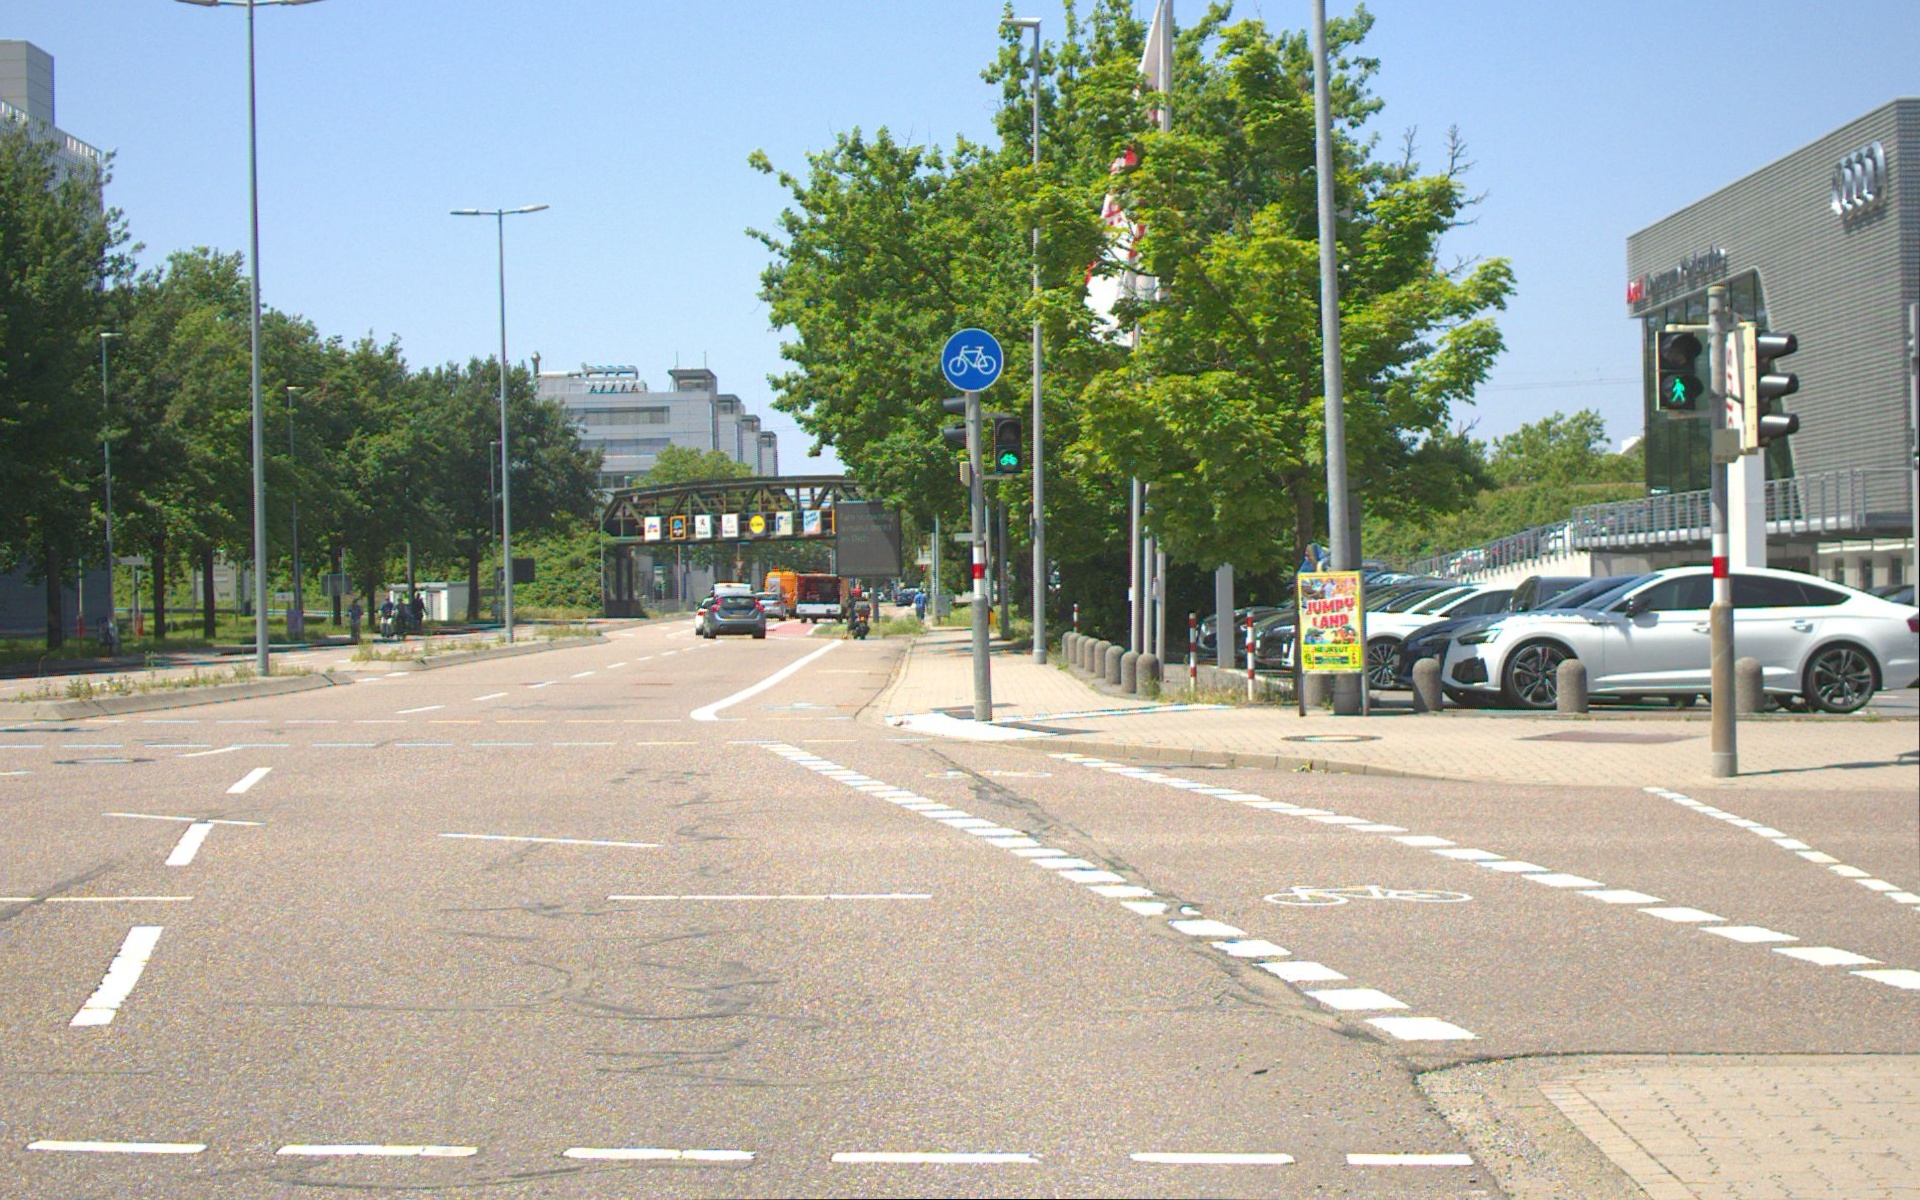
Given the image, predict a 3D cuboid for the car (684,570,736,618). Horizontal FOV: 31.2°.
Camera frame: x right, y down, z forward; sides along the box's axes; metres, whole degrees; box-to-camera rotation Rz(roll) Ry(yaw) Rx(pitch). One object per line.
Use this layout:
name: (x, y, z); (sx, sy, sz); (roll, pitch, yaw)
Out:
car: (-10.616, -0.275, 146.178); (1.993, 2.007, 4.000); (0, 0, -1)

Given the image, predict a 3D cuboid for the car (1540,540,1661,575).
car: (21.867, -1.444, 117.377); (3.724, 1.127, 1.684); (1, 0, -5)

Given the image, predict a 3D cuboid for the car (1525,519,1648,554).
car: (22.067, -2.243, 121.194); (3.938, 1.207, 1.718); (0, 0, -5)

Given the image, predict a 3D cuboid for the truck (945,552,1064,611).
truck: (2.232, -0.936, 171.948); (5.594, 2.841, 2.624); (1, 0, -8)

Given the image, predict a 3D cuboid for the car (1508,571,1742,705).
car: (7.585, 0.404, 39.633); (1.863, 1.415, 4.662); (1, 0, 1)

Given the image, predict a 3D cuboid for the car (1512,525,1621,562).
car: (21.922, -2.032, 124.326); (3.523, 1.235, 1.677); (1, 0, -5)

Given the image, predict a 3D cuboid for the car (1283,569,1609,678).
car: (6.521, 0.305, 46.465); (4.099, 1.344, 1.869); (1, 0, 0)

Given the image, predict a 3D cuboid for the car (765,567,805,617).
car: (-10.134, -0.469, 199.639); (2.072, 2.845, 6.765); (-1, 0, -1)

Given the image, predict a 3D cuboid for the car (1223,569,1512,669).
car: (6.136, 0.279, 52.092); (4.101, 1.400, 1.869); (1, 0, 0)

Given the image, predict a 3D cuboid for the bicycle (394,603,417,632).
bicycle: (-23.247, 0.740, 144.092); (0.629, 1.155, 2.117); (-3, 0, -1)

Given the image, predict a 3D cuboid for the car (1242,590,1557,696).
car: (6.241, 0.595, 49.193); (4.226, 1.385, 1.869); (1, 0, 0)

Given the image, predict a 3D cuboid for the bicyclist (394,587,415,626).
bicyclist: (-23.268, 0.269, 144.041); (0.633, 1.623, 1.045); (-3, 0, -1)

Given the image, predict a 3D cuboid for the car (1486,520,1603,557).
car: (21.961, -2.313, 129.238); (3.986, 1.307, 1.798); (1, 0, -5)

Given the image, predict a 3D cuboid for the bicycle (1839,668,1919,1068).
bicycle: (3.099, 0.779, 9.572); (0.628, 1.129, 1.895); (0, 0, -6)

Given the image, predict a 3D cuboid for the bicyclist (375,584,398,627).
bicyclist: (-22.381, 0.208, 134.148); (0.745, 1.680, 0.952); (-1, 0, -4)

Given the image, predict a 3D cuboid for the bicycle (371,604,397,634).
bicycle: (-22.481, 0.727, 134.211); (0.739, 1.121, 2.435); (-1, 0, -4)

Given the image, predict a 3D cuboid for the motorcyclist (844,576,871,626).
motorcyclist: (-3.159, 0.025, 105.871); (0.719, 1.524, 0.871); (1, 0, -10)

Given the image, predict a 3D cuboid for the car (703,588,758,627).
car: (-8.736, 0.275, 131.060); (1.924, 1.415, 4.000); (0, 0, -1)

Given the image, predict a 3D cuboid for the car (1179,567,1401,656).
car: (5.762, 0.200, 60.293); (3.681, 1.448, 1.834); (1, 0, 0)

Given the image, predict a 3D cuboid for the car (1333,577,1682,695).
car: (6.901, 0.443, 43.641); (4.096, 1.360, 1.874); (1, 0, 0)

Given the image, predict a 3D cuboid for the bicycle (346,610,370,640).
bicycle: (-23.365, 0.965, 133.468); (0.637, 1.130, 1.971); (-1, 0, -2)

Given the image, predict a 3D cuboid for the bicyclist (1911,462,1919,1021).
bicyclist: (3.108, 0.412, 9.516); (0.628, 1.600, 0.826); (1, 0, -7)

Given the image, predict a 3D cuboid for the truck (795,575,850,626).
truck: (-6.685, 0.015, 168.264); (2.458, 2.402, 7.134); (1, 0, -1)

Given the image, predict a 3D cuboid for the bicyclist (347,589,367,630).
bicyclist: (-23.390, 0.370, 133.425); (0.637, 1.577, 0.884); (-1, 0, -3)

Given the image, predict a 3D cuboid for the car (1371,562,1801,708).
car: (6.467, 0.355, 35.819); (4.096, 1.385, 1.869); (1, 0, 0)

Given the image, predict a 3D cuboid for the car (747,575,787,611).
car: (-9.998, -0.364, 178.569); (1.895, 1.809, 4.000); (-1, 1, -1)

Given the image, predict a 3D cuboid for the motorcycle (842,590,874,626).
motorcycle: (-3.147, 0.244, 105.827); (0.716, 1.101, 1.831); (1, 0, -10)

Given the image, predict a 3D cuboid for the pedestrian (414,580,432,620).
pedestrian: (-25.714, 0.008, 164.638); (0.743, 1.878, 0.577); (-1, 0, 0)

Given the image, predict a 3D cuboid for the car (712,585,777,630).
car: (-6.897, 0.229, 110.239); (1.900, 1.371, 4.232); (-1, 0, -1)

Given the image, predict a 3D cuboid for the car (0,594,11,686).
car: (-15.960, 0.665, 51.931); (1.726, 1.441, 4.719); (-3, 0, 2)

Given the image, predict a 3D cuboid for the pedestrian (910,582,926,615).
pedestrian: (-1.759, -0.047, 143.756); (0.623, 1.370, 0.564); (-1, 0, -2)

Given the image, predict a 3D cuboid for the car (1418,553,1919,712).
car: (6.839, 0.300, 33.206); (4.592, 1.385, 1.869); (1, 0, 2)
